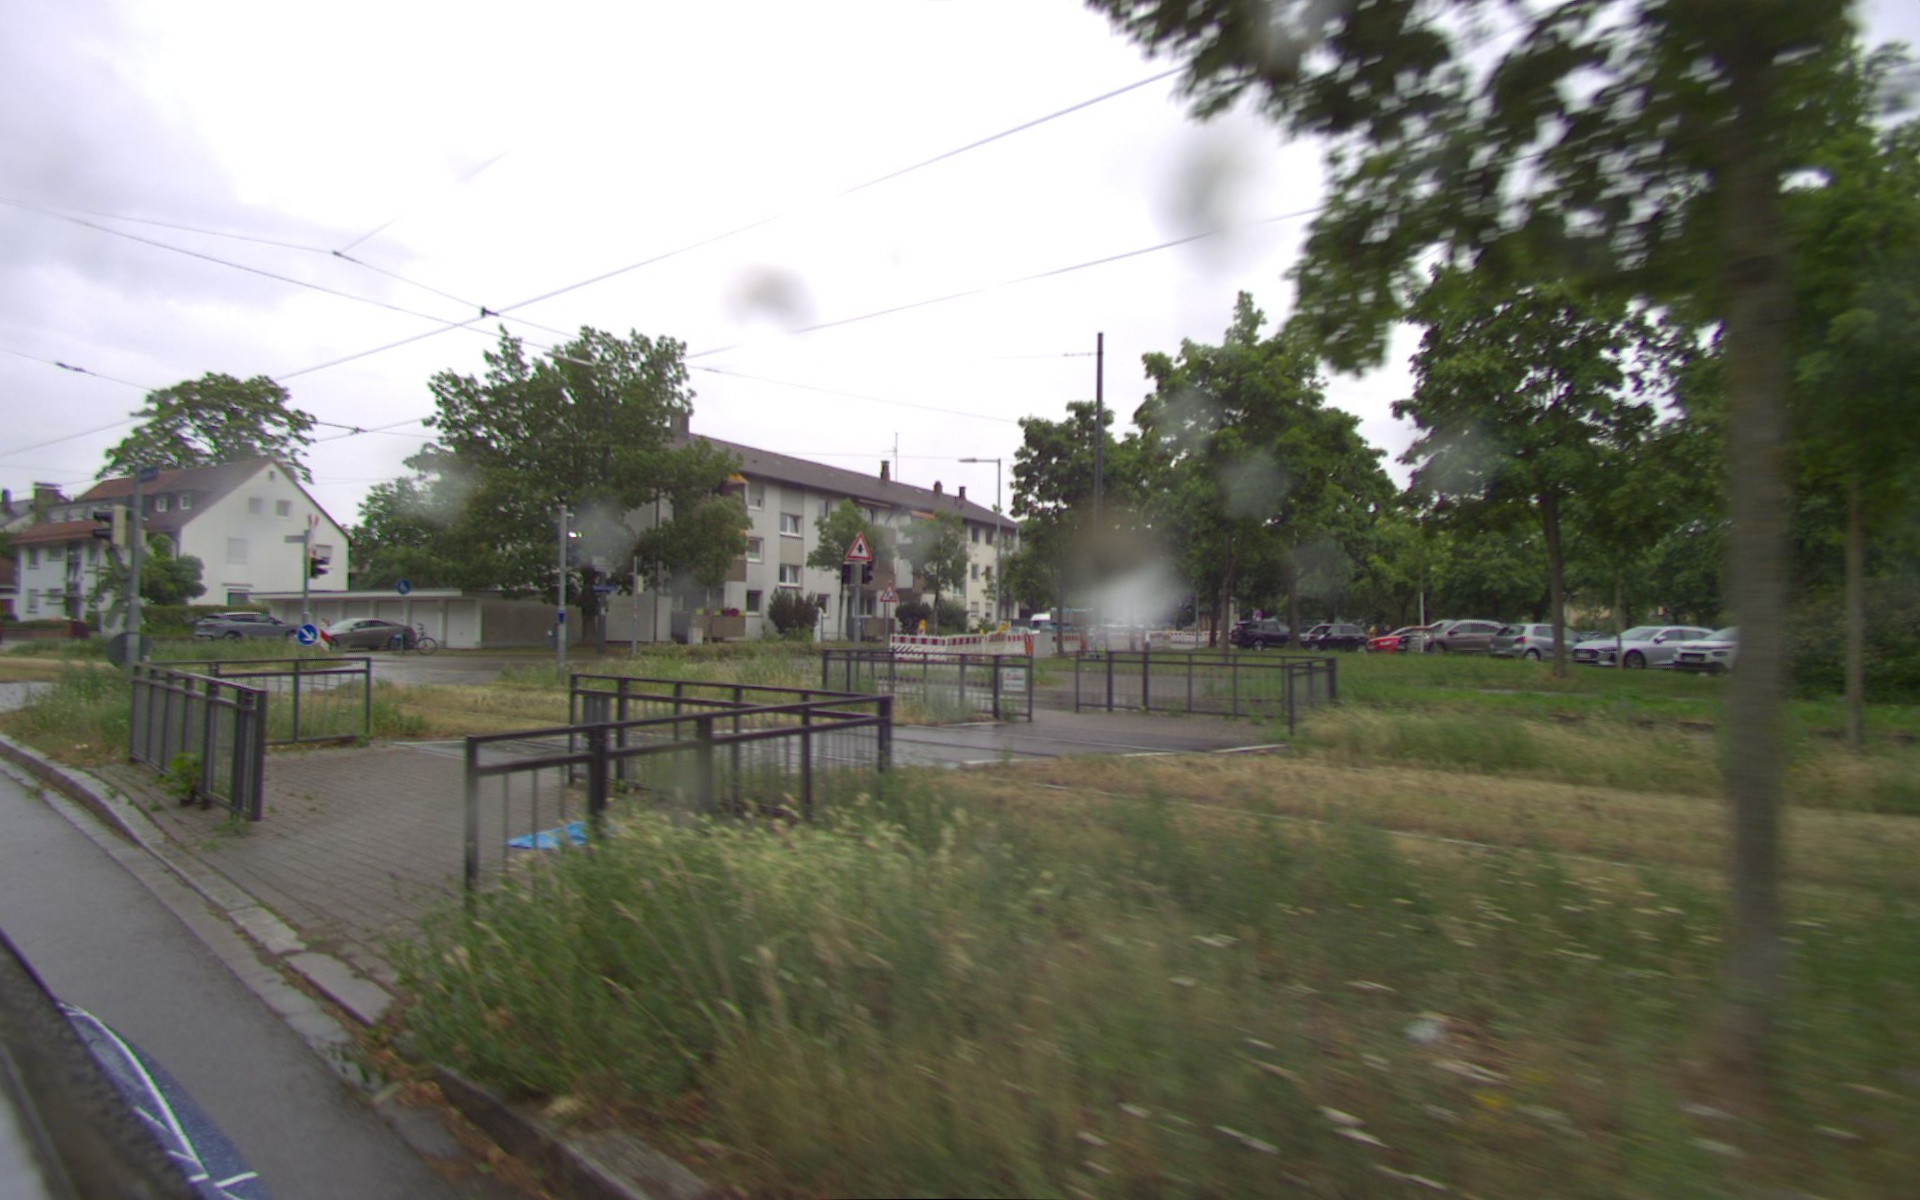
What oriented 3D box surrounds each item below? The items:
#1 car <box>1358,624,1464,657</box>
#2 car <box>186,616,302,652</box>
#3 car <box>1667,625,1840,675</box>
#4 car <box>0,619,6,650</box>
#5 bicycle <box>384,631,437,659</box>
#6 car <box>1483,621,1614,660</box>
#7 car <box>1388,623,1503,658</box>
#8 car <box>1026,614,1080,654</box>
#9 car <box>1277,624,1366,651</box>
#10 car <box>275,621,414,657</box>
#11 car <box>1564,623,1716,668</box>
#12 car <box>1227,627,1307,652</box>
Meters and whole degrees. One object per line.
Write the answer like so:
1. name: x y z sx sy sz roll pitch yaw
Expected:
1. car: 18.551 1.664 41.679 3.682 1.258 1.669 1 -2 -10
2. car: -32.957 1.577 46.700 1.883 1.588 3.963 -1 -2 27
3. car: 21.221 1.343 27.125 3.680 1.258 1.669 1 -2 -13
4. car: -50.992 1.776 51.956 3.956 1.558 1.829 -1 1 30
5. bicycle: -21.223 1.750 39.115 1.818 1.027 0.481 -1 1 4
6. car: 20.397 1.402 35.119 3.682 1.258 1.669 1 -2 -10
7. car: 18.747 1.569 39.127 3.682 1.258 1.669 1 -2 -10
8. car: 6.024 2.198 65.051 1.909 2.465 4.428 -1 -3 28
9. car: 17.534 1.831 49.172 3.682 1.258 1.669 1 -2 -10
10. car: -25.821 1.597 42.628 1.841 1.376 4.691 -1 -1 30
11. car: 20.241 1.348 30.163 3.680 1.258 1.669 1 -2 -13
12. car: 16.270 2.113 53.757 3.682 1.258 1.669 1 -2 -10
